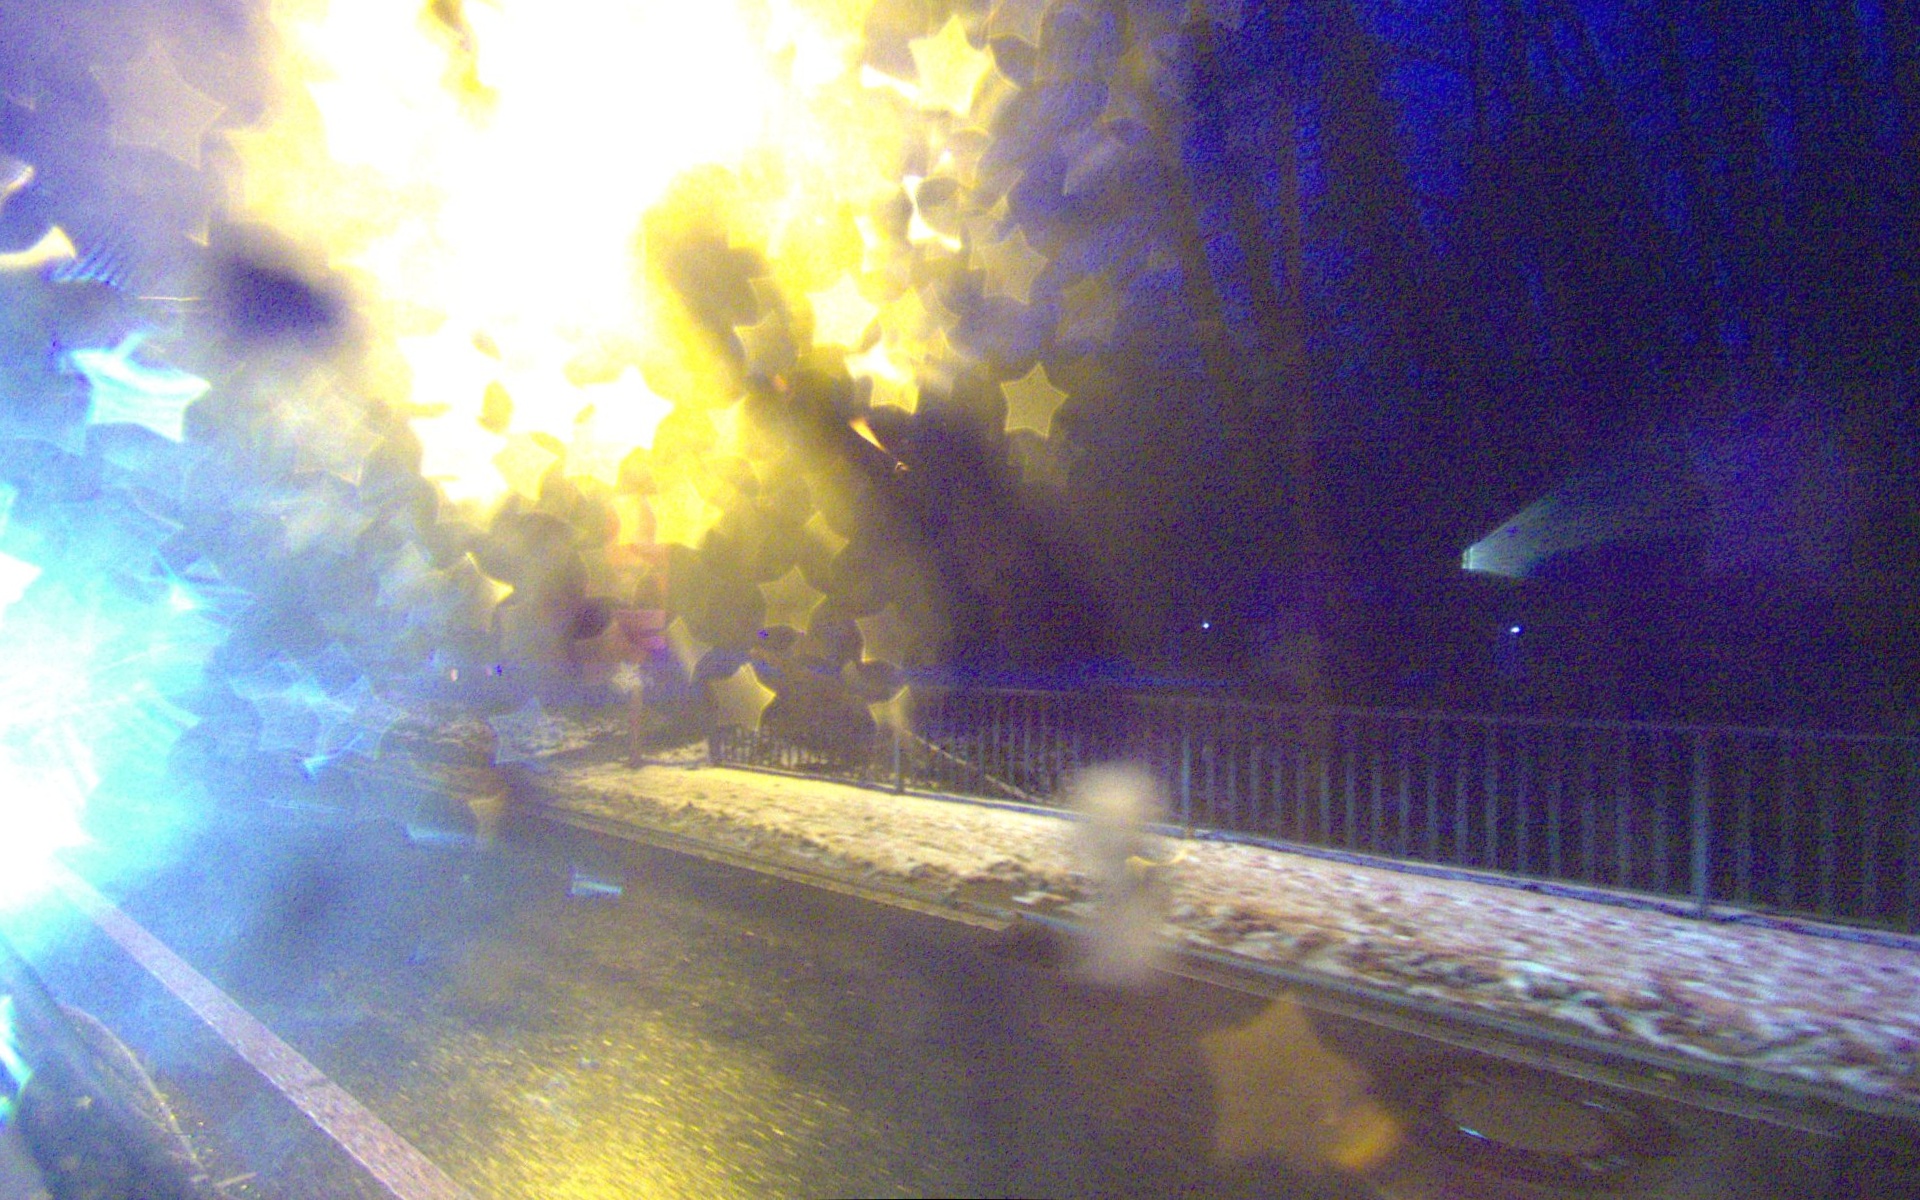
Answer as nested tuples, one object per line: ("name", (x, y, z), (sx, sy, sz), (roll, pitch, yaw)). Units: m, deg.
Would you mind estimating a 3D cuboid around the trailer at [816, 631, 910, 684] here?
("trailer", (-4.461, 2.664, 46.648), (3.745, 2.234, 1.980), (4, -3, -31))
